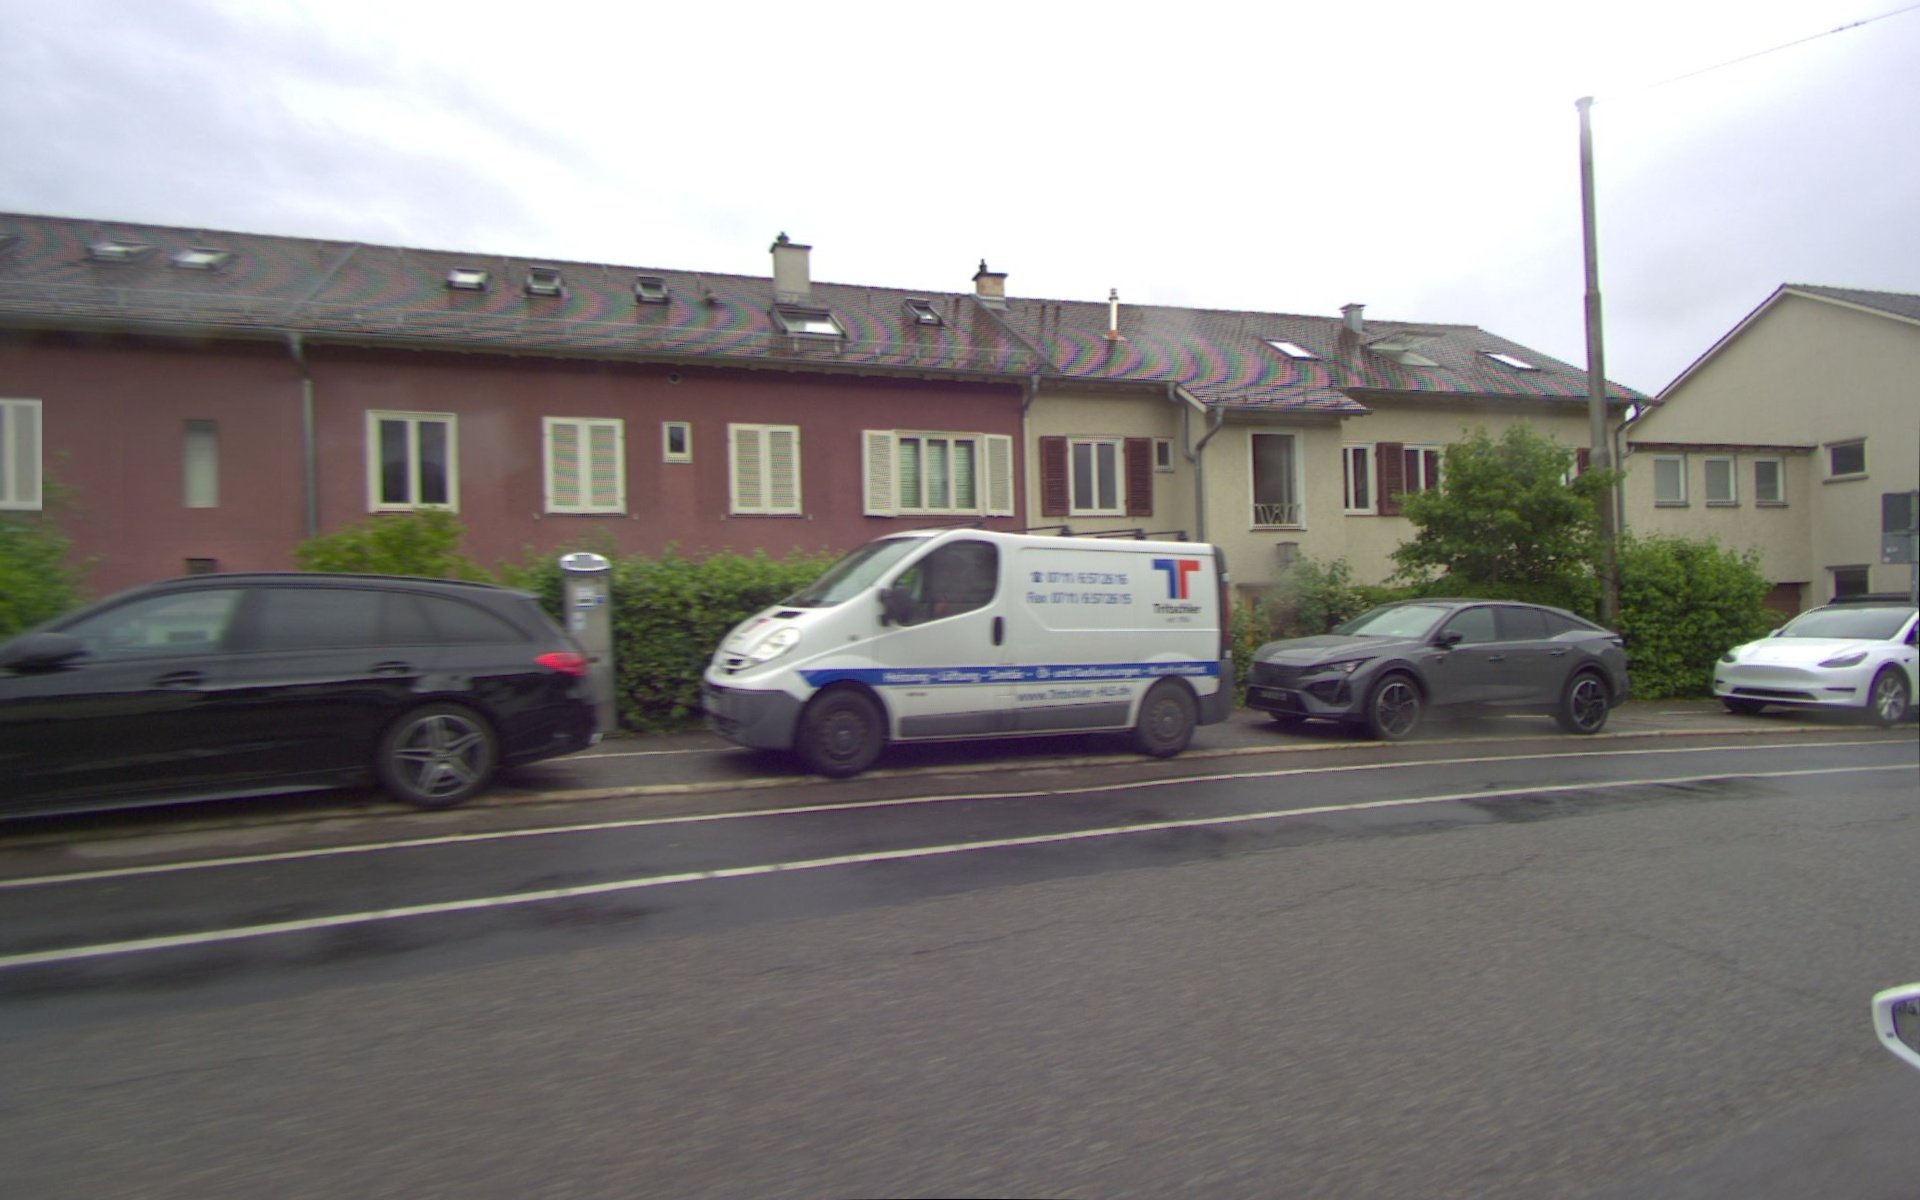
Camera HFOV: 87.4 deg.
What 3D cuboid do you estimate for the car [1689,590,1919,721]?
[{"bbox_3d":[12.955,0.745,14.304,4.606,1.653,1.927,1,0,-20],"label":"car"}]

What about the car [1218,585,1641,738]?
[{"bbox_3d":[5.356,0.645,11.483,4.455,1.496,1.805,1,0,-21],"label":"car"}]

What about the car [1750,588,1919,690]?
[{"bbox_3d":[19.701,0.784,21.185,1.858,2.040,4.485,-1,-1,-19],"label":"car"}]

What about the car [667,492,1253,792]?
[{"bbox_3d":[0.086,0.338,8.995,4.955,2.106,1.842,1,0,-27],"label":"car"}]

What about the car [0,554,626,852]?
[{"bbox_3d":[-4.601,0.534,6.275,4.474,1.496,1.797,1,-1,-34],"label":"car"}]
